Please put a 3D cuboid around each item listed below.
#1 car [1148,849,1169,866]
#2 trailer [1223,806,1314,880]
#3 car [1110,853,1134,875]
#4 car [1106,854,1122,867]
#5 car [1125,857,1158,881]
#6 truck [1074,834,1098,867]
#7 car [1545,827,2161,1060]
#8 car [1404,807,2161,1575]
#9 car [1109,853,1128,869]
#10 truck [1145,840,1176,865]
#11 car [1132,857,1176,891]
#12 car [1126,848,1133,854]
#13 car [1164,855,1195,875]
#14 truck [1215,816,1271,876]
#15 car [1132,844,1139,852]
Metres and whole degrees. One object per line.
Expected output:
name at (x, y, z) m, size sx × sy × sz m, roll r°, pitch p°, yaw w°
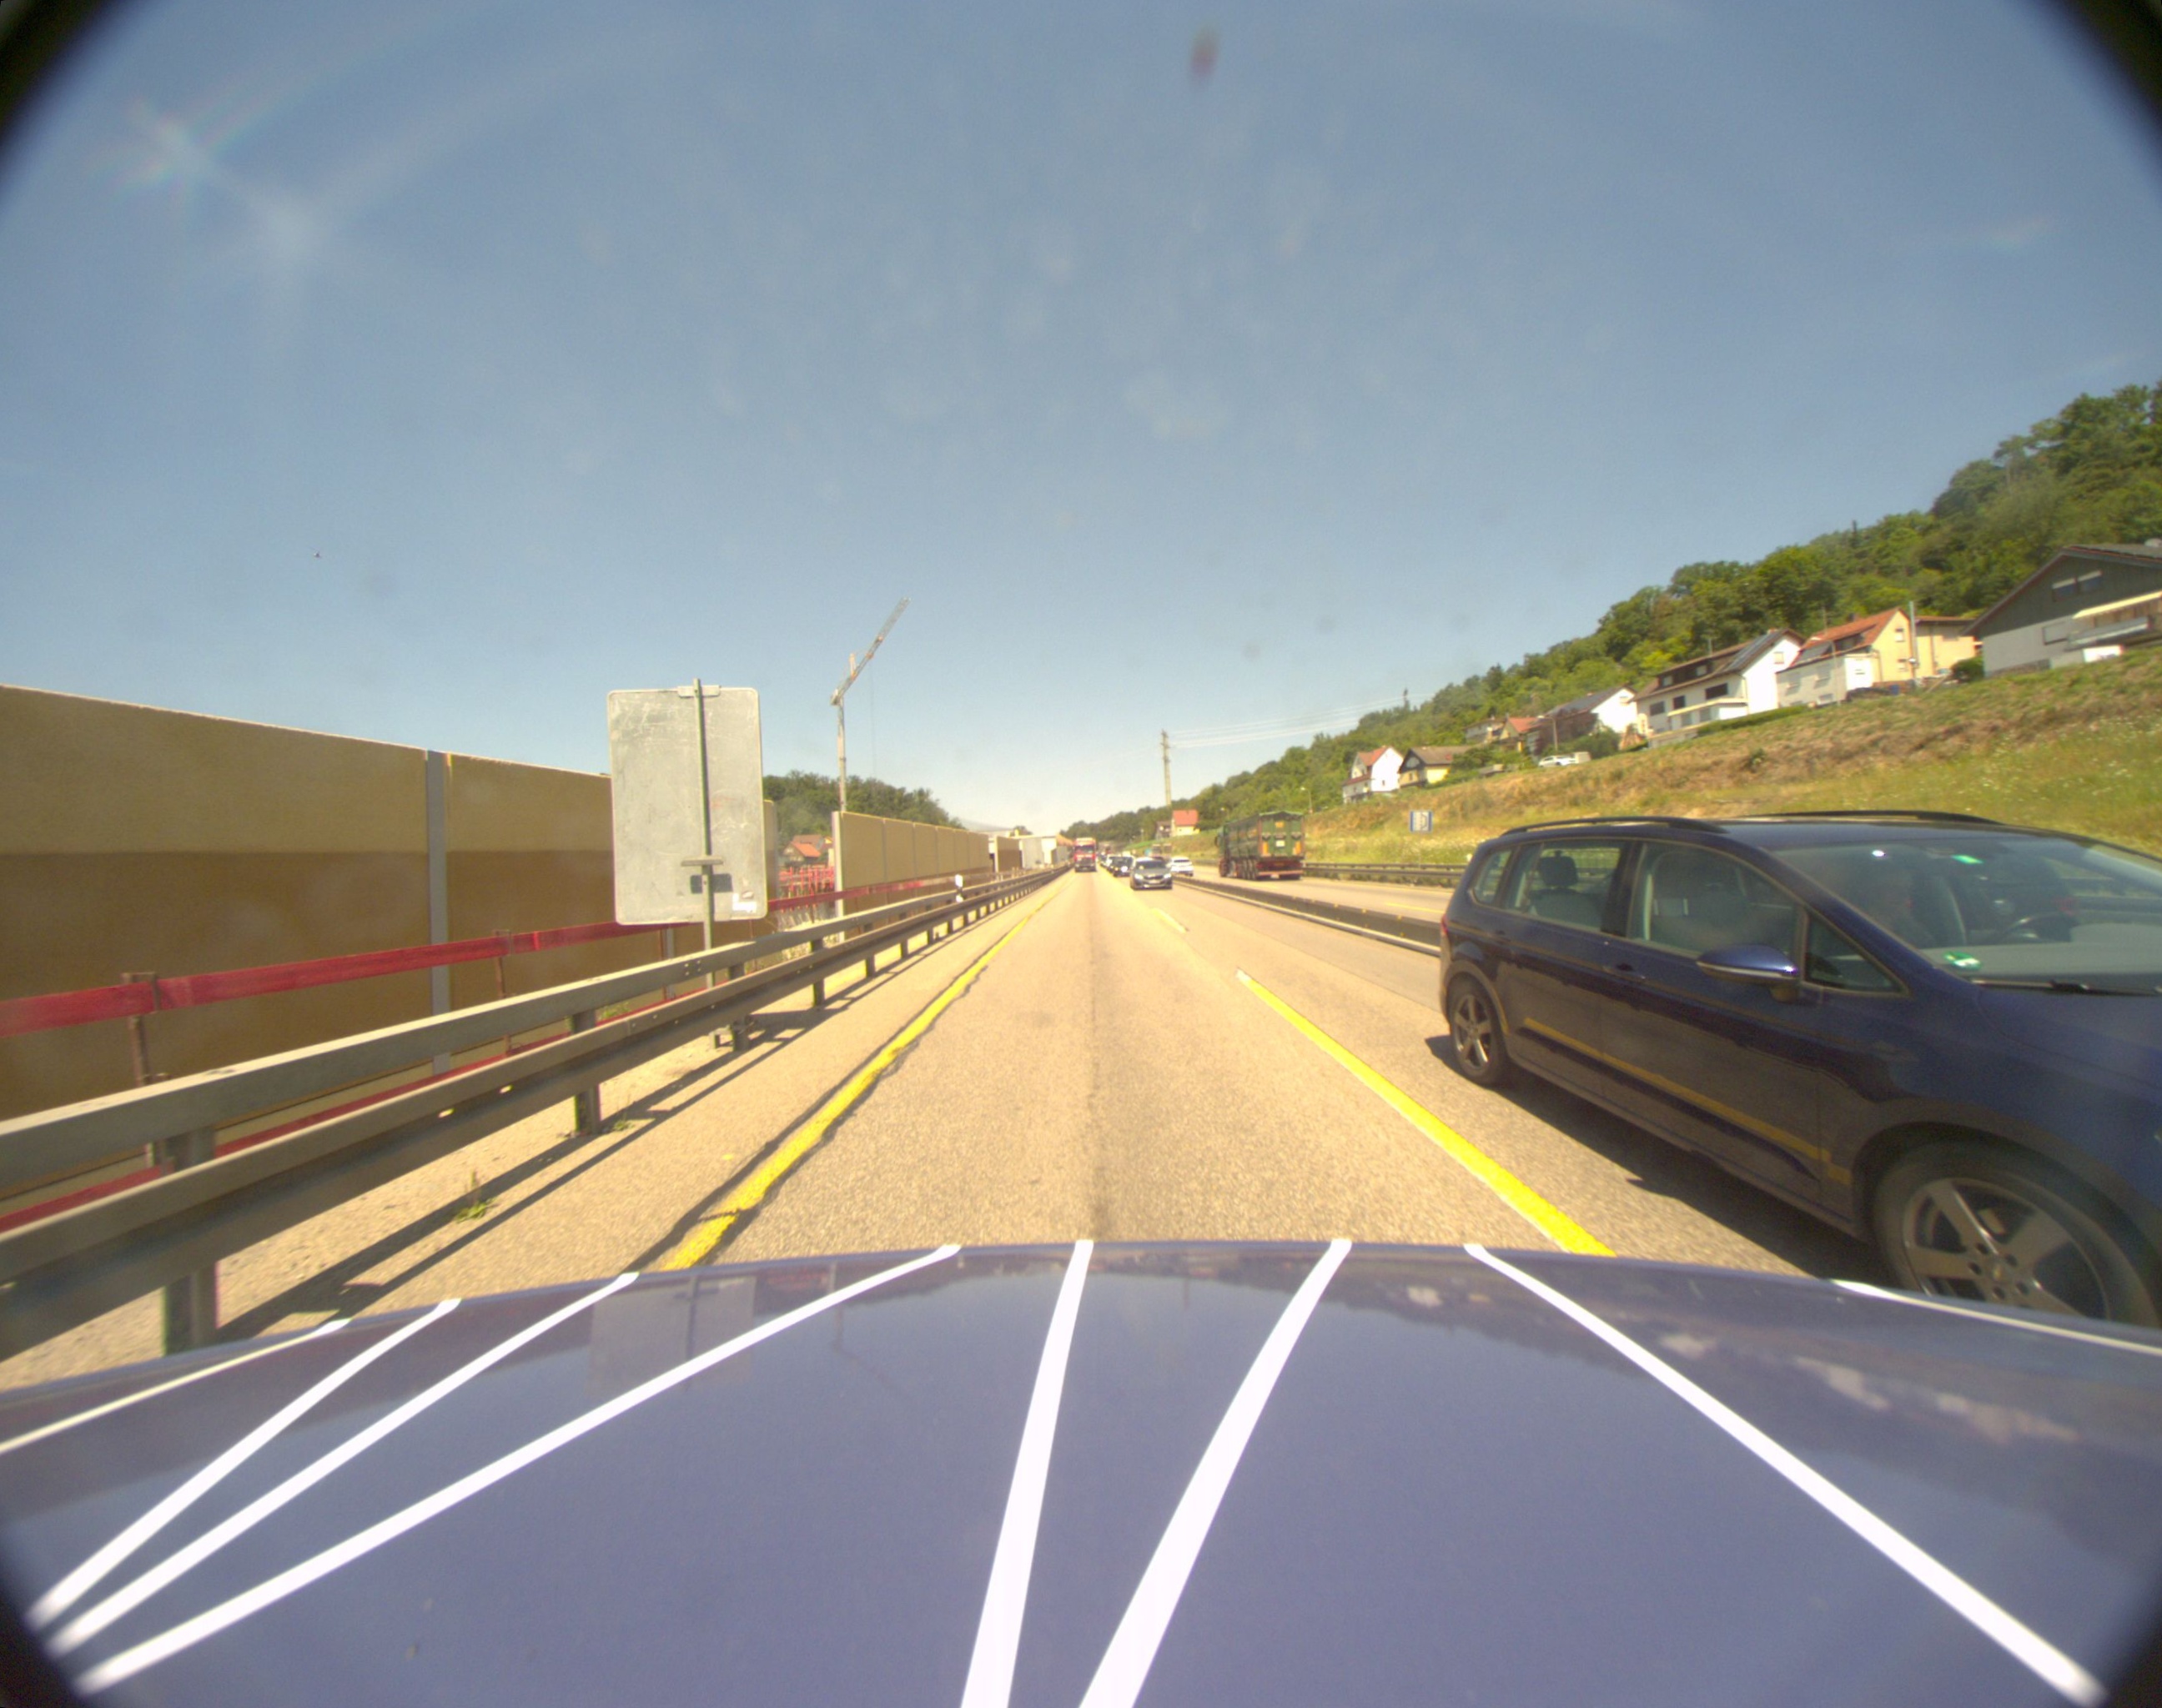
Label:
car at (8.312, 0.371, 81.623) m, size 1.816 × 1.706 × 4.045 m, roll -2°, pitch 0°, yaw 1°
trailer at (11.018, -0.574, 45.971) m, size 2.920 × 3.915 × 10.527 m, roll -2°, pitch 0°, yaw 1°
car at (3.369, 0.813, 62.990) m, size 1.780 × 1.727 × 4.336 m, roll -2°, pitch -1°, yaw 1°
car at (4.004, 0.771, 91.980) m, size 1.780 × 1.486 × 4.336 m, roll -2°, pitch -1°, yaw 1°
car at (3.804, 0.939, 48.404) m, size 1.780 × 1.447 × 4.336 m, roll -2°, pitch -1°, yaw 1°
truck at (0.668, -0.354, 92.000) m, size 2.605 × 3.704 × 10.537 m, roll -2°, pitch -1°, yaw 1°
car at (6.949, 0.647, 7.728) m, size 1.722 × 1.625 × 4.499 m, roll -2°, pitch 0°, yaw 1°
car at (3.292, 0.738, 3.326) m, size 1.780 × 1.708 × 4.653 m, roll -2°, pitch -1°, yaw 1°
car at (3.875, 0.726, 79.133) m, size 1.780 × 1.486 × 4.336 m, roll -2°, pitch -1°, yaw 1°
truck at (11.643, -0.206, 112.794) m, size 2.769 × 3.303 × 15.936 m, roll -2°, pitch 0°, yaw 0°
car at (3.447, 0.919, 36.477) m, size 1.780 × 1.447 × 4.336 m, roll -2°, pitch -1°, yaw 1°
car at (13.403, -0.751, 211.623) m, size 1.679 × 1.615 × 4.044 m, roll -2°, pitch 0°, yaw 0°
car at (7.564, 0.816, 58.622) m, size 1.777 × 1.461 × 4.440 m, roll -2°, pitch 0°, yaw 0°
truck at (11.075, -0.531, 52.266) m, size 2.902 × 3.915 × 4.178 m, roll -2°, pitch 0°, yaw 1°
car at (16.390, -1.818, 228.346) m, size 1.679 × 2.203 × 4.044 m, roll -2°, pitch 0°, yaw 0°
